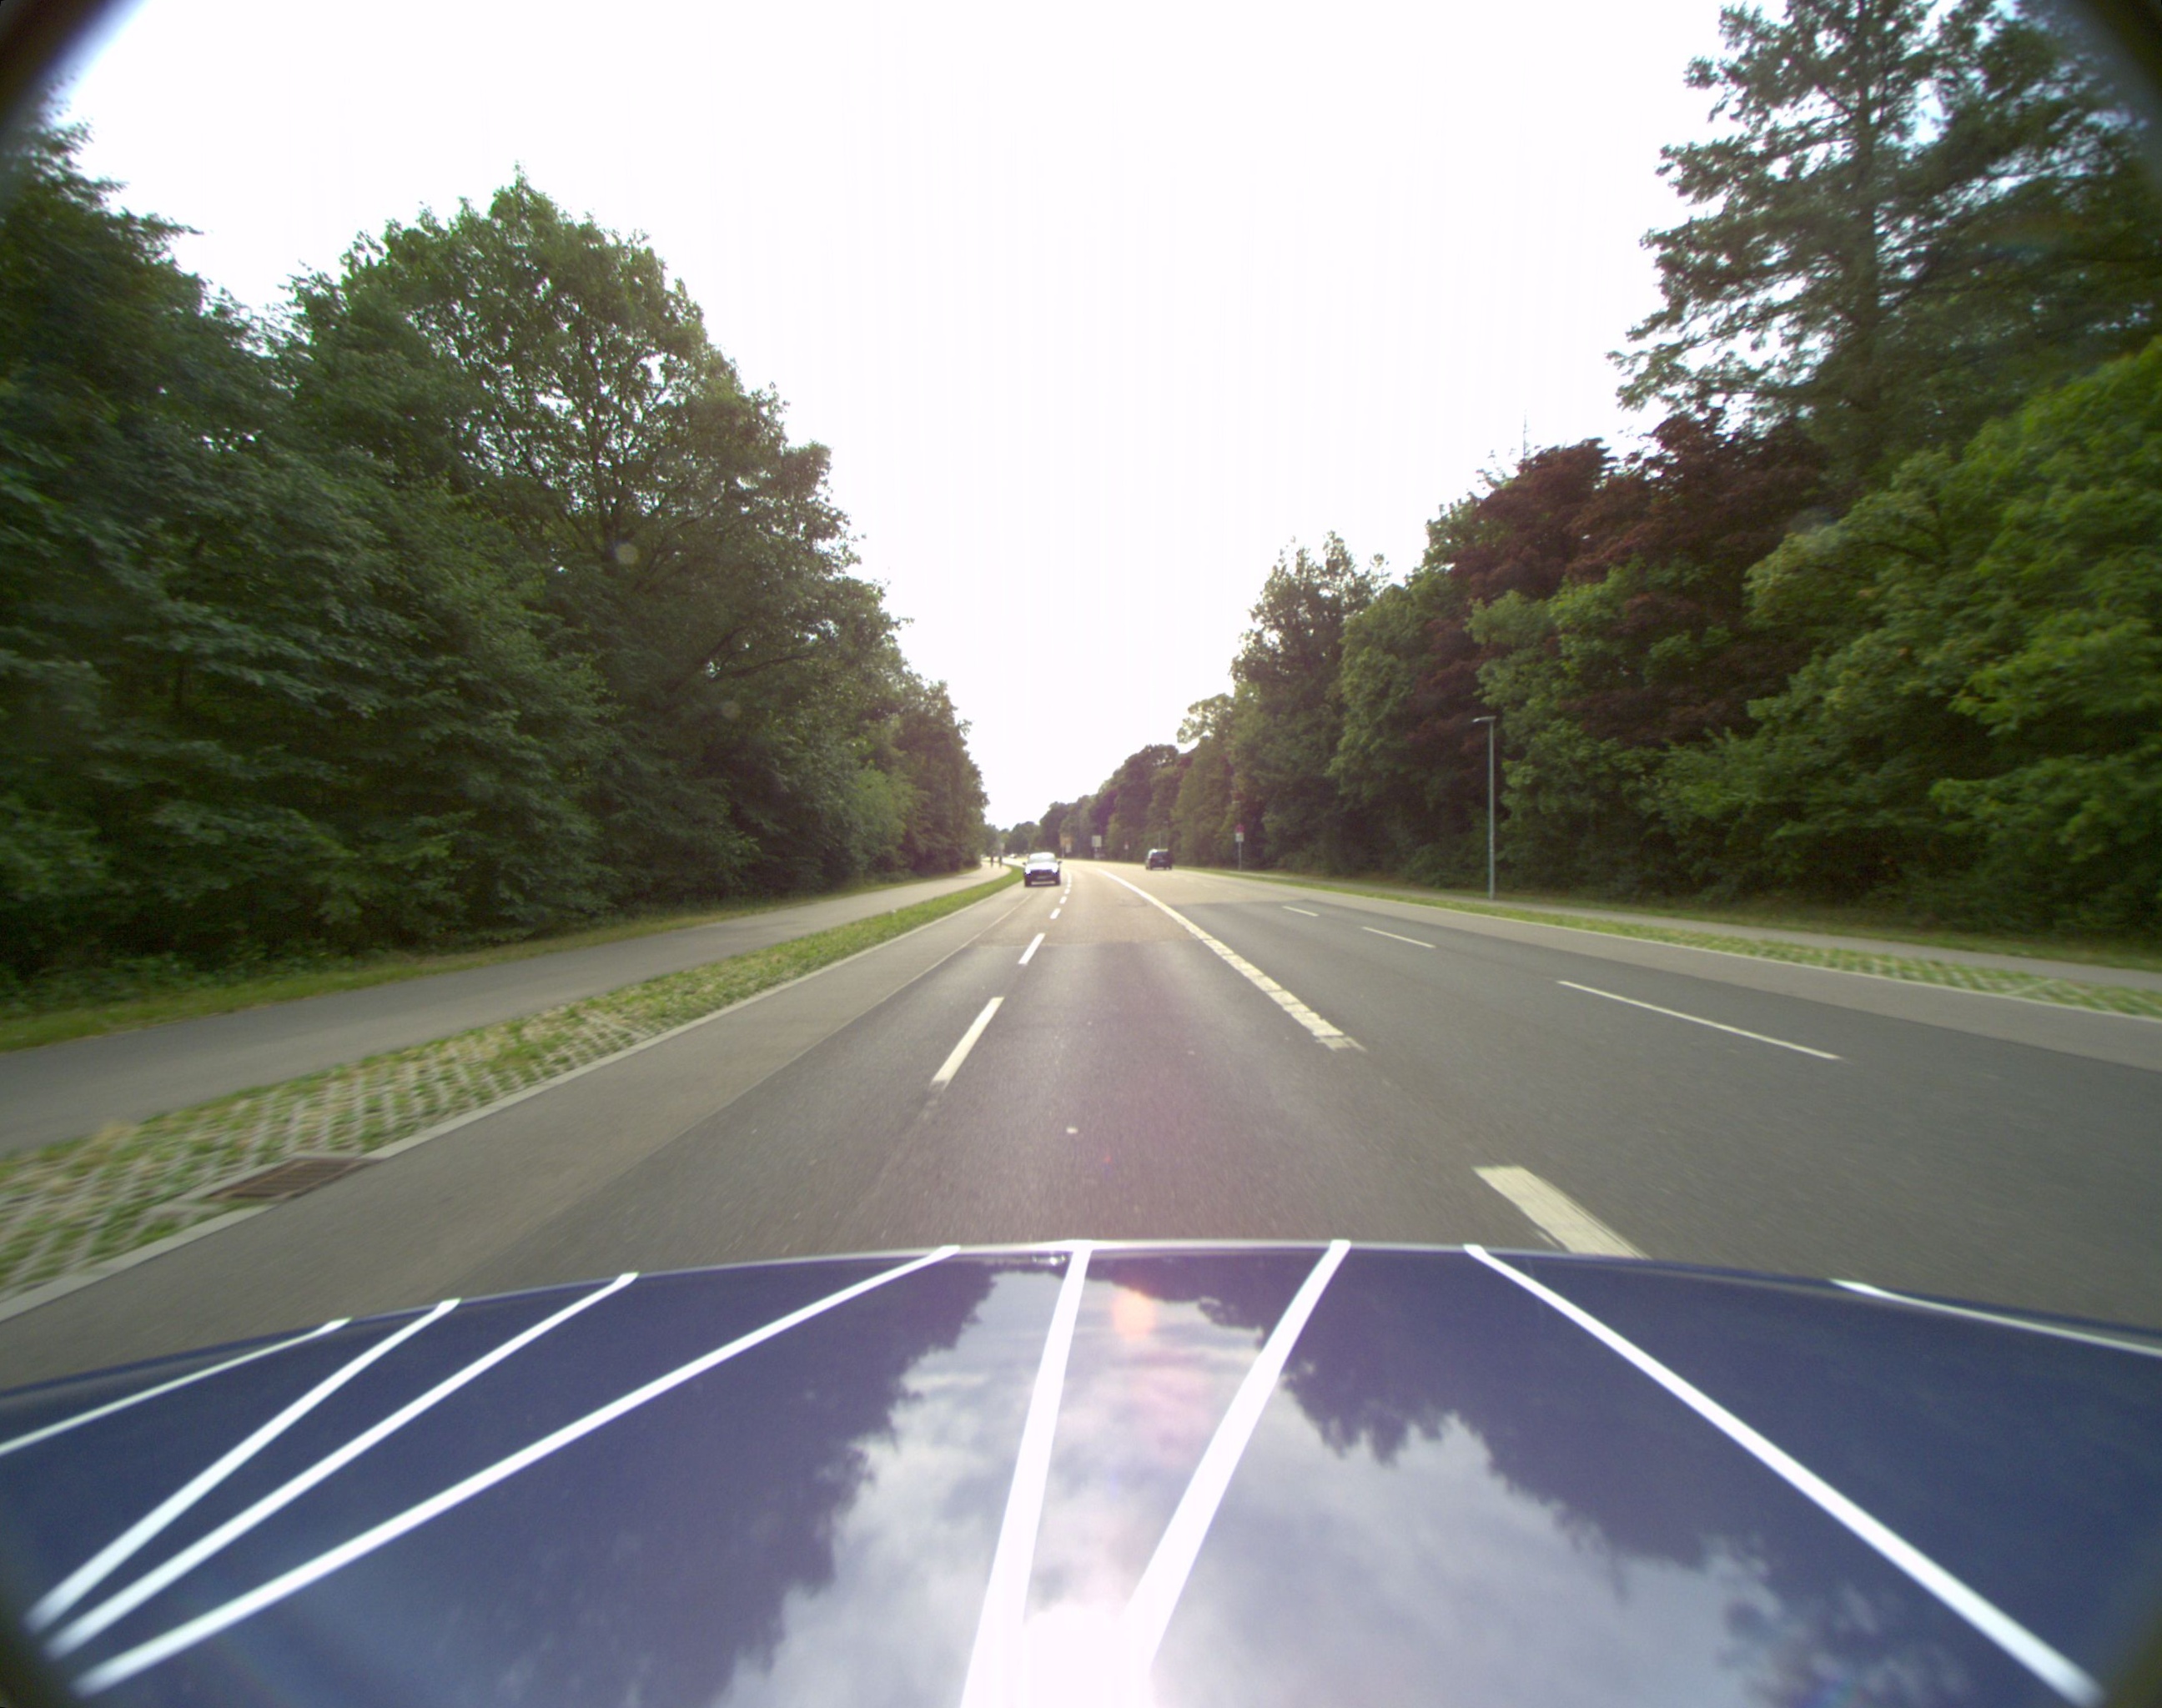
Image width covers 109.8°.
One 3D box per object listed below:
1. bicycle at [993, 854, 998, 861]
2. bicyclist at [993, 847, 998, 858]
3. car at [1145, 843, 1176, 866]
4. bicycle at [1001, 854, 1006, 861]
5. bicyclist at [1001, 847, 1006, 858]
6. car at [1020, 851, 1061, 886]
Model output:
[{"bbox_3d":[-11.157,0.428,98.943,0.567,0.906,1.885,1,-1,-9],"label":"bicycle"},{"bbox_3d":[-11.191,-0.147,98.966,0.521,1.407,1.185,-3,1,-9],"label":"bicyclist"},{"bbox_3d":[6.751,0.026,64.749,1.999,1.781,4.746,-4,1,-1],"label":"car"},{"bbox_3d":[-10.138,0.410,99.234,0.567,0.906,1.753,1,1,-9],"label":"bicycle"},{"bbox_3d":[-10.158,-0.187,99.326,0.521,1.407,1.185,-1,1,-9],"label":"bicyclist"},{"bbox_3d":[-2.118,0.724,40.204,1.999,1.565,3.998,-4,1,-2],"label":"car"}]
